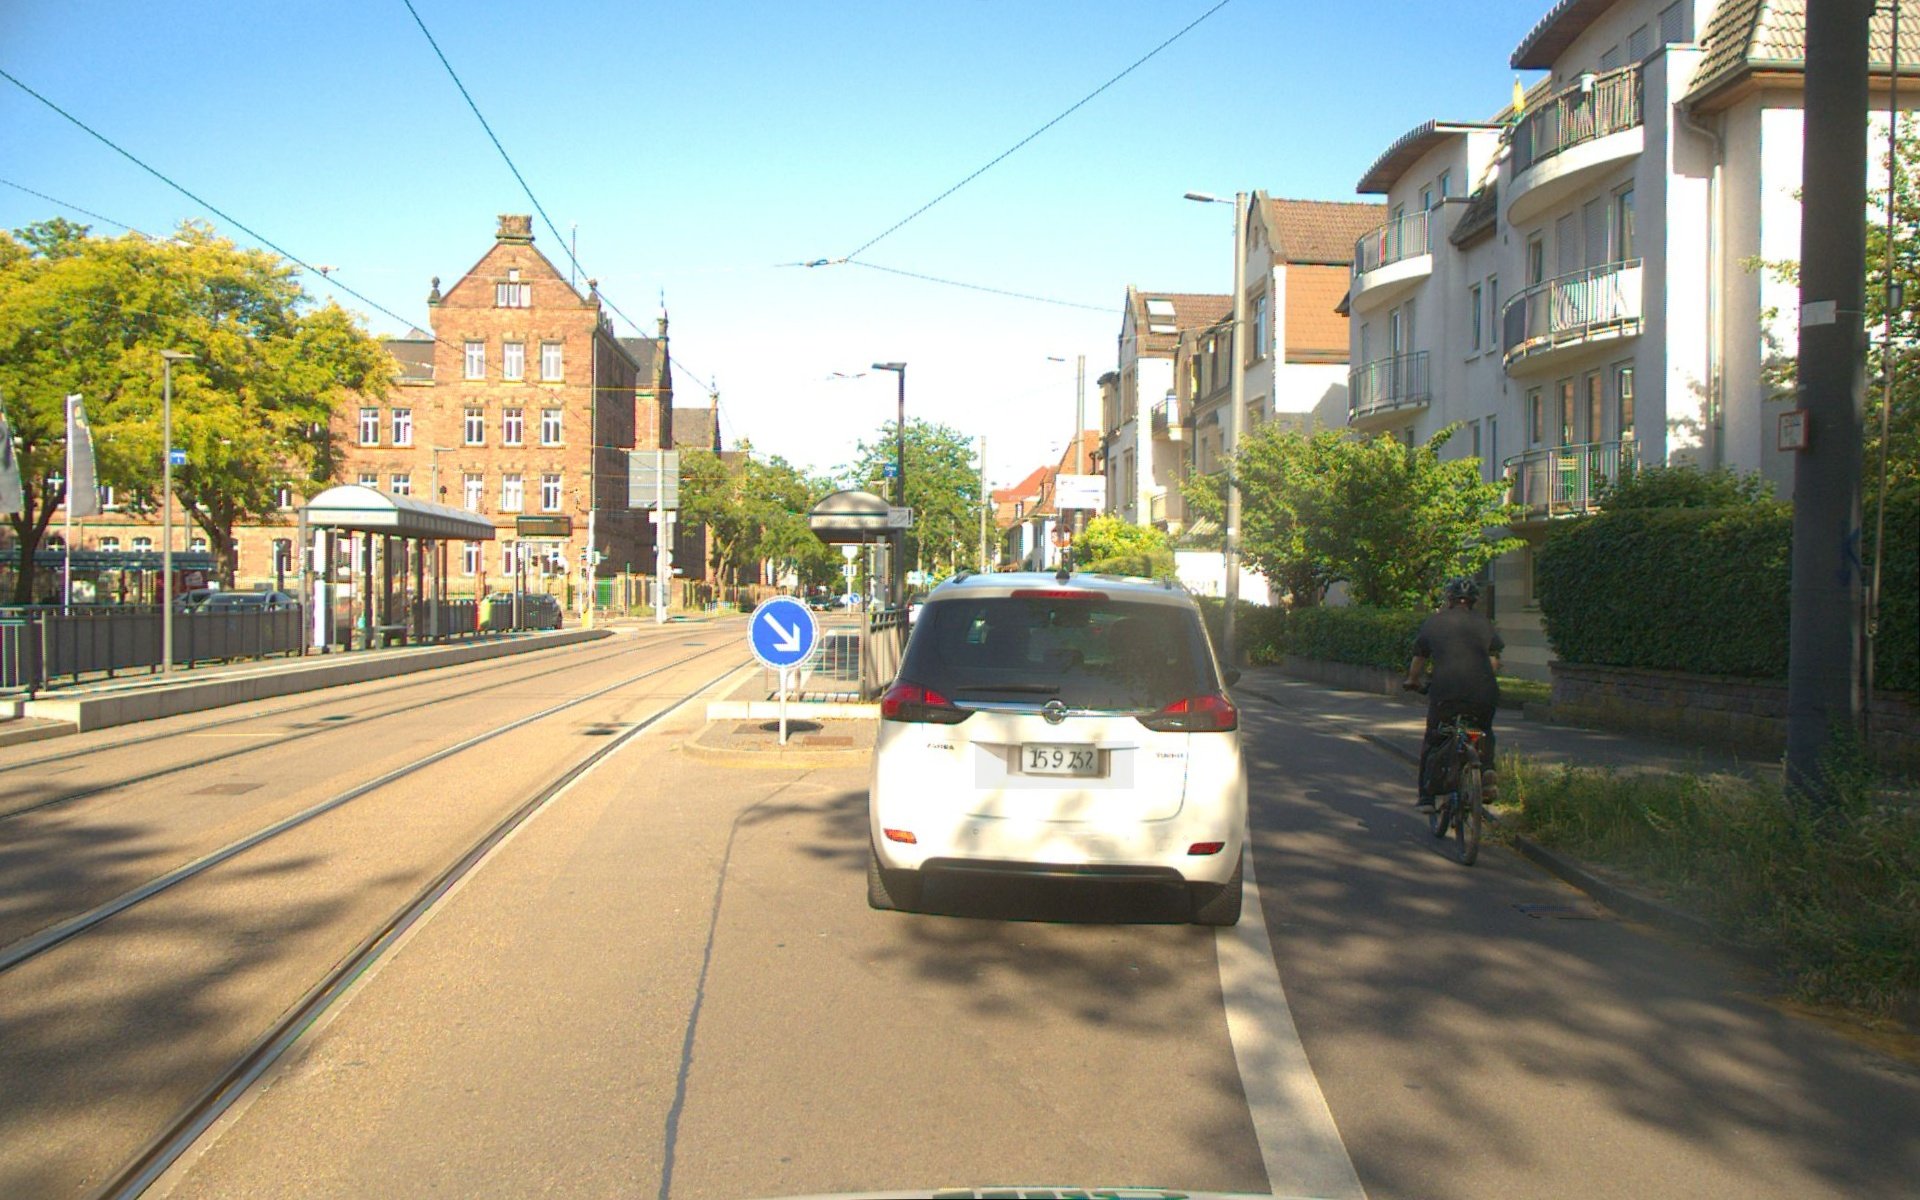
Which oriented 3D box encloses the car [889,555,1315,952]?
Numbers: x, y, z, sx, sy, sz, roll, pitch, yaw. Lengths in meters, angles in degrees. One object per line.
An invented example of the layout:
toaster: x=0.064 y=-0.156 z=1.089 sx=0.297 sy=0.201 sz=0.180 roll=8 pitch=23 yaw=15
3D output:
car: x=0.528 y=0.667 z=9.014 sx=1.798 sy=1.670 sz=3.916 roll=1 pitch=0 yaw=-3

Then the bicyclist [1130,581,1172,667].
bicyclist: x=3.779 y=0.464 z=32.775 sx=0.672 sy=1.663 sz=1.015 roll=1 pitch=0 yaw=-1

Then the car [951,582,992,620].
car: x=0.498 y=0.066 z=75.557 sx=1.740 sy=1.660 sz=3.879 roll=1 pitch=0 yaw=-1

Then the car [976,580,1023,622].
car: x=1.618 y=0.055 z=68.750 sx=1.740 sy=1.660 sz=3.879 roll=1 pitch=0 yaw=-1

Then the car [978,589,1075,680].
car: x=1.253 y=0.643 z=32.562 sx=1.739 sy=1.660 sz=3.880 roll=1 pitch=0 yaw=0

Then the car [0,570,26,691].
car: x=-13.866 y=0.431 z=21.571 sx=1.764 sy=1.666 sz=4.106 roll=-1 pitch=0 yaw=-12

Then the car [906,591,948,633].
car: x=-1.432 y=0.516 z=71.607 sx=1.740 sy=1.722 sz=3.879 roll=1 pitch=0 yaw=-1

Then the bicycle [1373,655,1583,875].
bicycle: x=3.271 y=0.989 z=10.654 sx=0.812 sy=1.174 sz=2.096 roll=3 pitch=0 yaw=5

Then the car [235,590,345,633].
car: x=-27.626 y=0.470 z=68.231 sx=3.780 sy=1.689 sz=1.750 roll=1 pitch=0 yaw=-1

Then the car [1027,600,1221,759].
car: x=1.604 y=0.736 z=17.313 sx=1.554 sy=1.445 sz=3.899 roll=0 pitch=0 yaw=-1

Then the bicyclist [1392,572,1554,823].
bicyclist: x=3.283 y=0.600 z=10.657 sx=0.804 sy=1.528 sz=0.935 roll=1 pitch=-1 yaw=5

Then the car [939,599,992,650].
car: x=0.161 y=0.816 z=56.725 sx=1.740 sy=1.660 sz=3.880 roll=1 pitch=0 yaw=-1

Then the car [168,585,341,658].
car: x=-14.793 y=0.418 z=34.958 sx=1.845 sy=1.440 sz=4.622 roll=0 pitch=0 yaw=-3

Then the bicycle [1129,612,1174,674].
bicycle: x=3.777 y=0.840 z=32.708 sx=0.671 sy=1.177 sz=1.619 roll=1 pitch=0 yaw=-1

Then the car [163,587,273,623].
car: x=-32.888 y=0.224 z=73.362 sx=3.982 sy=1.548 sz=1.877 roll=1 pitch=0 yaw=-1

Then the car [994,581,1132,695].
car: x=1.564 y=0.572 z=26.355 sx=1.740 sy=1.660 sz=3.878 roll=1 pitch=0 yaw=-3

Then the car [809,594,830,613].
car: x=-13.599 y=0.330 z=160.662 sx=1.868 sy=1.706 sz=4.355 roll=1 pitch=0 yaw=-3
